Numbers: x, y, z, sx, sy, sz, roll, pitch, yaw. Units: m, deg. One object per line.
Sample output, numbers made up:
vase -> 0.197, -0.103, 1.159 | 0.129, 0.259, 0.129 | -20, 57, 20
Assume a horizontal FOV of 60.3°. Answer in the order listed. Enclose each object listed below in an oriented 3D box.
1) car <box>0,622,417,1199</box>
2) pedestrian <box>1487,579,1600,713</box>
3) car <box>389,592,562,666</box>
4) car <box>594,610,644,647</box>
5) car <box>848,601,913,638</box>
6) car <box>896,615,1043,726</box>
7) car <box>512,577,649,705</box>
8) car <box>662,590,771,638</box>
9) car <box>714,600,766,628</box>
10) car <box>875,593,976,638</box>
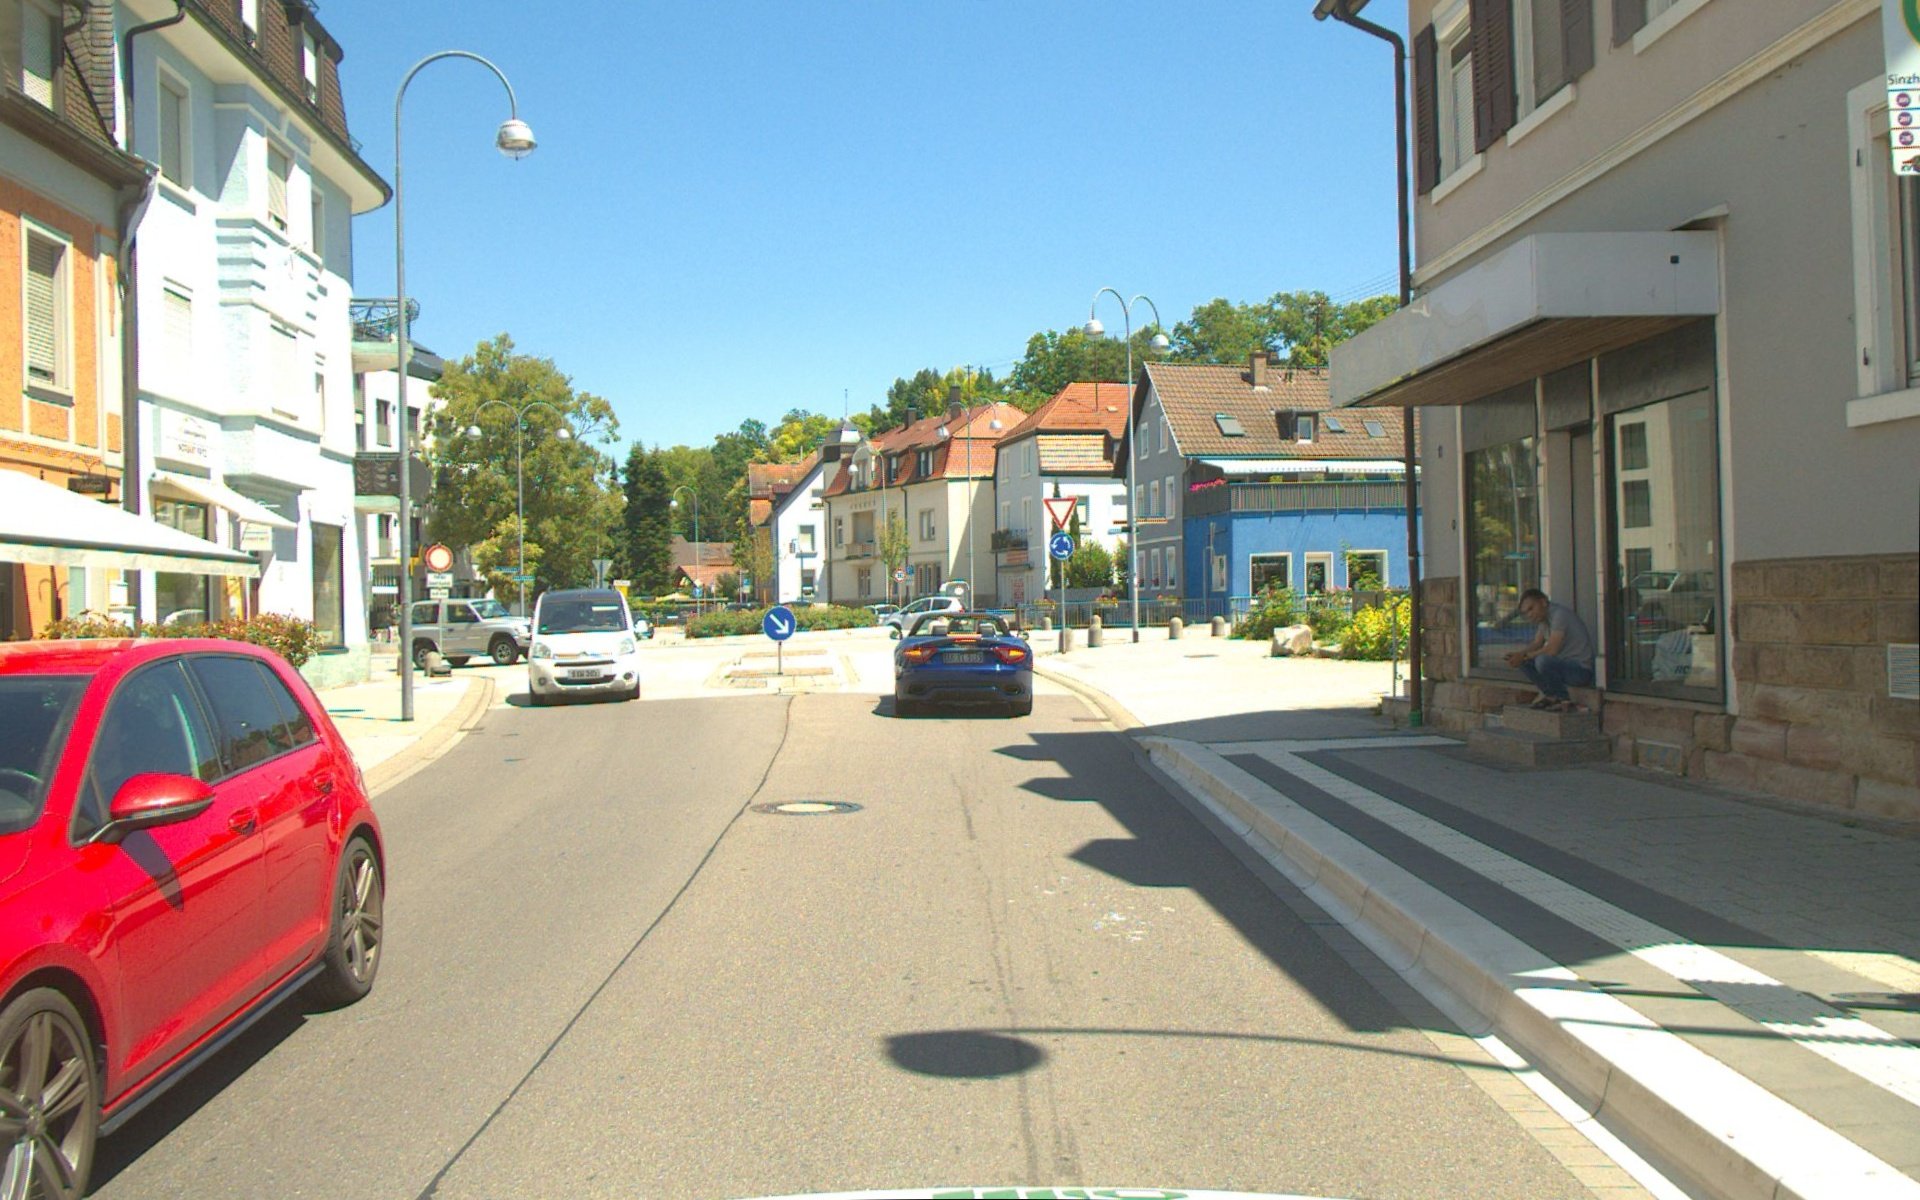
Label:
car -> -3.105, 0.866, 4.960 | 1.878, 1.451, 3.975 | -3, 0, -5
pedestrian -> 4.636, 0.356, 13.180 | 0.578, 1.017, 0.723 | -3, 0, -3
car -> -13.003, 0.779, 44.483 | 4.127, 1.907, 1.765 | -1, 1, 15
car -> -14.993, 1.253, 72.920 | 1.957, 1.536, 3.991 | -2, -1, -9
car -> -3.893, 0.950, 80.044 | 1.891, 1.641, 4.120 | -2, -1, -21
car -> 0.103, 0.918, 23.350 | 1.871, 1.384, 4.285 | 0, 0, -1
car -> -6.185, 0.629, 27.368 | 1.958, 1.854, 4.403 | -3, 0, -11
car -> -7.556, 0.455, 51.007 | 1.972, 1.353, 4.160 | -2, 0, -29
car -> -14.229, 0.923, 106.853 | 1.832, 1.616, 3.956 | -3, 0, -32
car -> -1.263, 0.563, 60.741 | 3.385, 1.476, 1.581 | -2, 0, 13
